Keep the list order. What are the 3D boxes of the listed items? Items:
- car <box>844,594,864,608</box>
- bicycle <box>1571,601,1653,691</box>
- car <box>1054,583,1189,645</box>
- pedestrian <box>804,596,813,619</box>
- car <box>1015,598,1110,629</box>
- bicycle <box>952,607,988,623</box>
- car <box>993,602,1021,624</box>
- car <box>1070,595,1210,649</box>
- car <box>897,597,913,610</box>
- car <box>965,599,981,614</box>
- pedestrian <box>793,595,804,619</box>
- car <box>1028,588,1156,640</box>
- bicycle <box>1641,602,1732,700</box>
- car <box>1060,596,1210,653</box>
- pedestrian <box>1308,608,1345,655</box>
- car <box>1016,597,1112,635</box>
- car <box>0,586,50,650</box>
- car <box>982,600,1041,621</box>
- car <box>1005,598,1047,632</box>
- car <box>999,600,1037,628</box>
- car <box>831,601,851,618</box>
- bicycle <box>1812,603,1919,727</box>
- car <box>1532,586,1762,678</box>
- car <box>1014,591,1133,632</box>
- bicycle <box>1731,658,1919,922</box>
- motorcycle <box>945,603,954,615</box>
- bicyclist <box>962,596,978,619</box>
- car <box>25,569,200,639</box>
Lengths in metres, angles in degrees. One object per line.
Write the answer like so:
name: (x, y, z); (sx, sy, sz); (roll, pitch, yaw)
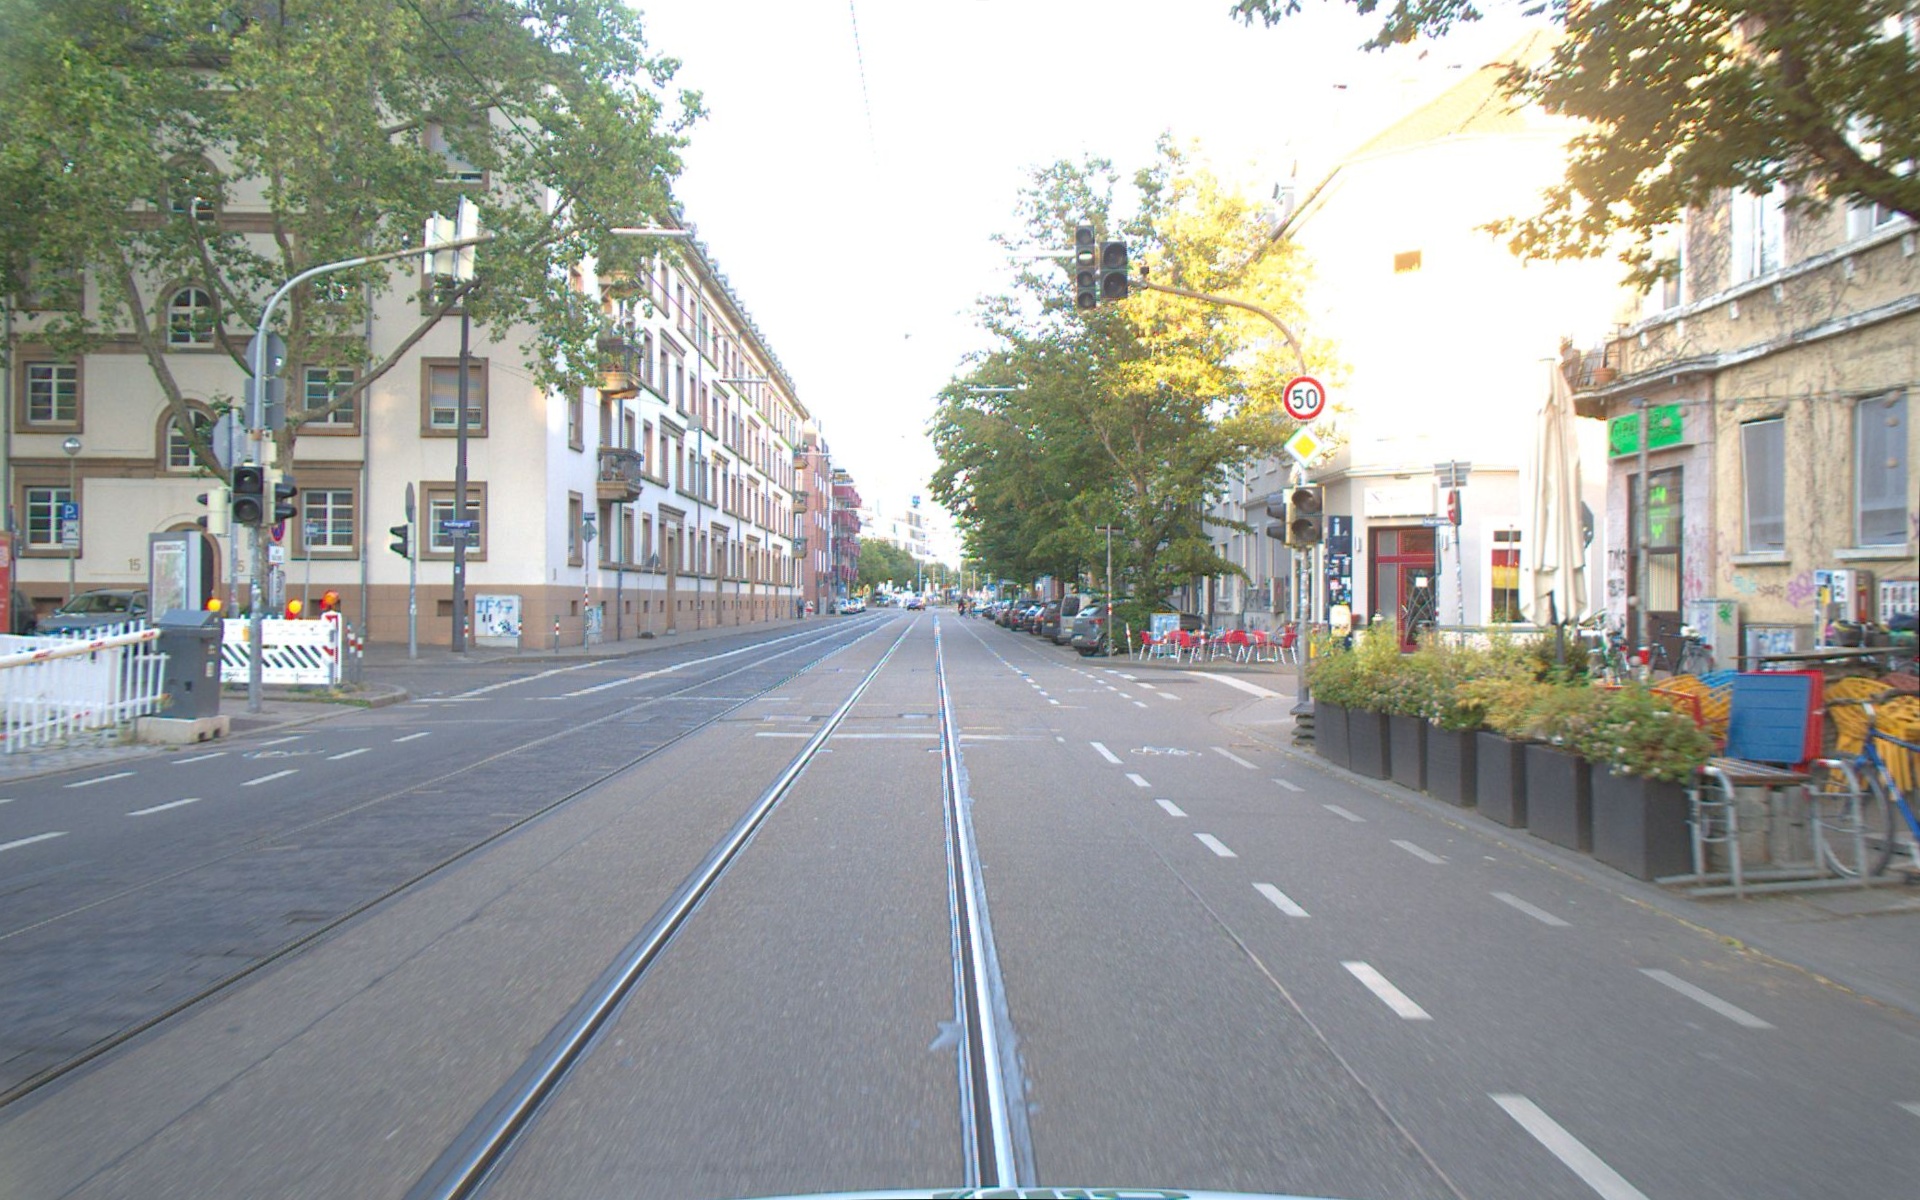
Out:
car: (-11.669, 0.120, 182.288); (1.656, 1.438, 4.677); (2, 0, 1)
bicycle: (9.331, 0.639, 23.723); (0.513, 1.231, 1.585); (1, 0, -1)
car: (5.165, 0.430, 52.968); (3.932, 1.847, 1.812); (-1, 1, -23)
pedestrian: (-10.898, 0.563, 118.755); (0.579, 1.638, 0.811); (0, 0, -3)
car: (4.780, 0.617, 76.703); (4.198, 1.412, 1.607); (0, 0, -27)
bicycle: (0.872, 1.310, 145.252); (3.112, 1.378, 0.955); (0, 0, -10)
car: (3.059, 0.846, 108.332); (1.586, 1.405, 3.775); (-2, 0, -1)
car: (5.471, 0.659, 50.386); (3.932, 1.594, 1.708); (0, 0, -23)
car: (-6.779, 0.407, 202.998); (1.526, 1.585, 3.757); (-1, 0, 5)
car: (1.442, 0.726, 183.091); (1.681, 1.583, 4.204); (1, 0, 0)
pedestrian: (-11.572, 0.516, 118.643); (0.779, 1.731, 0.981); (0, 0, -3)
car: (4.628, 0.469, 58.103); (4.122, 1.726, 1.834); (-1, 0, -23)
bicycle: (9.530, 0.649, 21.744); (0.460, 1.231, 1.585); (1, 0, -1)
car: (5.012, 0.689, 47.329); (3.929, 1.567, 1.769); (0, 0, -21)
pedestrian: (9.261, 0.782, 41.770); (0.641, 1.175, 0.686); (1, 0, -25)
car: (4.635, 0.687, 73.772); (3.901, 1.580, 1.711); (-1, 1, -19)
car: (-22.950, 0.433, 38.098); (1.717, 1.383, 4.094); (1, 2, 0)
car: (4.172, 0.841, 133.613); (4.386, 1.543, 2.048); (-1, 0, -24)
car: (3.380, 0.744, 85.792); (1.842, 1.646, 4.261); (-2, 0, -2)
car: (3.281, 0.788, 94.882); (1.953, 1.515, 5.035); (-1, 0, -1)
car: (-11.656, 0.921, 162.343); (1.682, 1.583, 4.203); (2, 0, 0)
bicycle: (9.687, 0.655, 17.429); (0.460, 1.231, 1.782); (1, 0, -1)
car: (14.921, 0.671, 36.086); (4.231, 1.873, 1.908); (1, 0, 4)
car: (4.418, 0.418, 64.464); (4.310, 1.489, 1.711); (-1, 0, -19)
bicycle: (4.818, 0.919, 8.475); (0.746, 1.144, 2.026); (1, 0, -1)
motorcycle: (-1.090, 0.937, 170.470); (0.811, 1.261, 2.490); (0, 0, -3)
bicyclist: (0.882, 0.649, 145.260); (1.192, 2.049, 0.945); (-1, 0, -9)
car: (-19.325, 0.043, 37.962); (1.717, 1.383, 4.475); (1, 2, 0)
